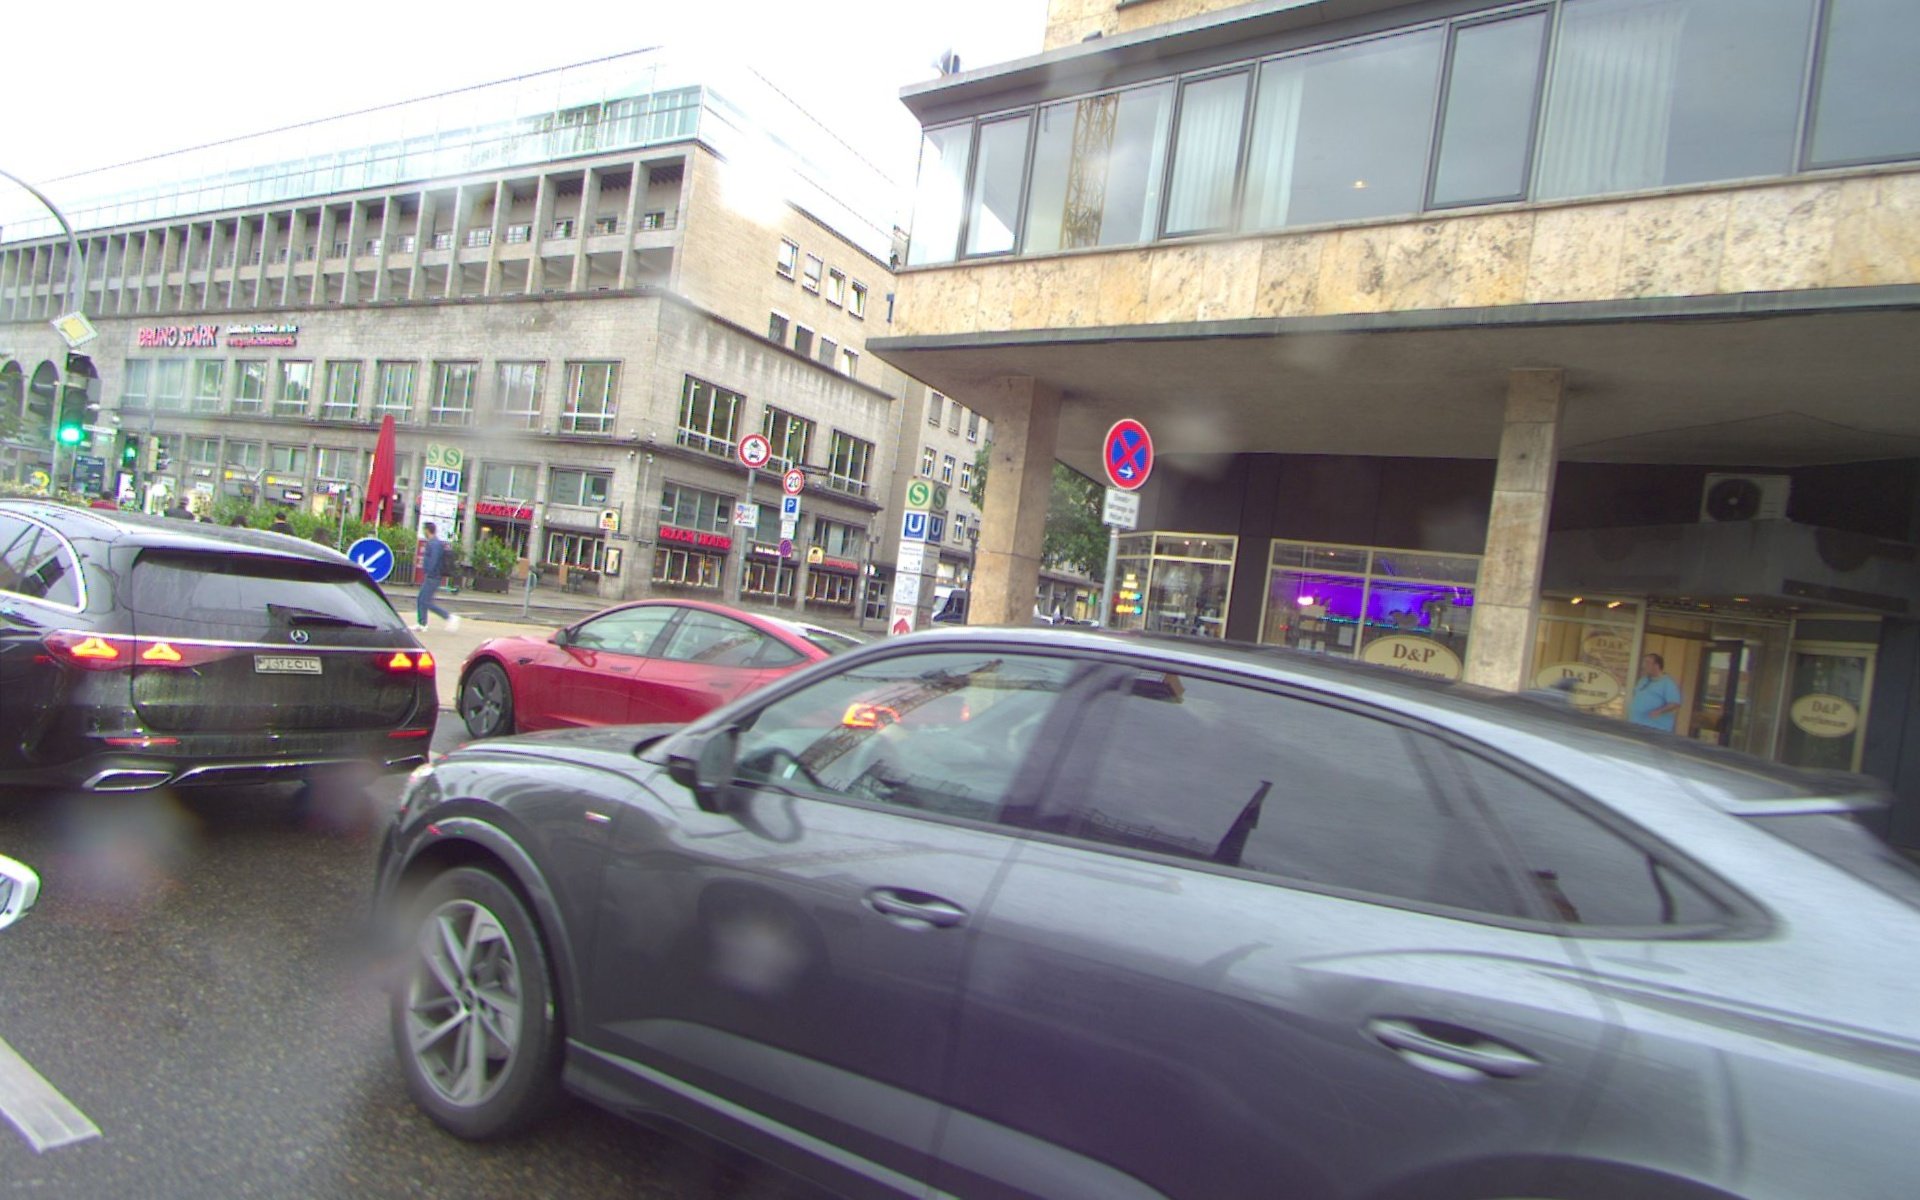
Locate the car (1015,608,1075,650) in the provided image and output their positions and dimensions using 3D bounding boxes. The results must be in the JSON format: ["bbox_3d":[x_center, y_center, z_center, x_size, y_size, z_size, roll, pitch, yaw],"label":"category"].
[{"bbox_3d":[5.424,1.865,63.538,1.966,2.065,4.483,7,-2,29],"label":"car"}]

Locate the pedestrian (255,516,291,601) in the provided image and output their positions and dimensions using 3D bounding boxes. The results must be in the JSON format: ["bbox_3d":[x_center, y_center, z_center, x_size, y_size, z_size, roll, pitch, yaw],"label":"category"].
[{"bbox_3d":[-14.851,-0.904,21.759,0.477,1.774,0.661,5,2,-30],"label":"pedestrian"}]

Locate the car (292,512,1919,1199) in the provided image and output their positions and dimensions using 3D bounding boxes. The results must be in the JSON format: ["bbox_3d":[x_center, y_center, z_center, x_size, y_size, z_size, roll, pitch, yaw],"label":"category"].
[{"bbox_3d":[0.353,0.778,2.717,4.271,1.519,1.882,6,-2,32],"label":"car"}]

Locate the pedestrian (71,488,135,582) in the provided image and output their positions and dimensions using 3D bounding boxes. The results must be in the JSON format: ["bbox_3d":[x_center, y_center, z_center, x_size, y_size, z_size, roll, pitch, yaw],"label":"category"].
[{"bbox_3d":[-17.169,-1.283,20.177,0.561,1.772,0.678,7,-1,-15],"label":"pedestrian"}]

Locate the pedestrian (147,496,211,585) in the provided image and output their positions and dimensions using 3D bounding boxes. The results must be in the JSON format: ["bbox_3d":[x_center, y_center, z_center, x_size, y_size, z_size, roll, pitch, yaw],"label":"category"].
[{"bbox_3d":[-16.309,-1.229,21.014,0.458,1.737,0.757,7,-1,28],"label":"pedestrian"}]

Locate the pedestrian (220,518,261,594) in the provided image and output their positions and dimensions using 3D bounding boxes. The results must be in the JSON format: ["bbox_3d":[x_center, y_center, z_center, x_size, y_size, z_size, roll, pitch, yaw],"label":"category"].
[{"bbox_3d":[-15.313,-0.924,21.417,0.460,1.535,0.447,8,-1,-25],"label":"pedestrian"}]

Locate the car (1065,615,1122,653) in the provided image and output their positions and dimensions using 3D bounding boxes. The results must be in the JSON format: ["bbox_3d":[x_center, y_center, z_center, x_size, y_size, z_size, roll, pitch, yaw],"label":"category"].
[{"bbox_3d":[9.371,2.421,70.290,1.967,2.065,4.830,6,-2,32],"label":"car"}]

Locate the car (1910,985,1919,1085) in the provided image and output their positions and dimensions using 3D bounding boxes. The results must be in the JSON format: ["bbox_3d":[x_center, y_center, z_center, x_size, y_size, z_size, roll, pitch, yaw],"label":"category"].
[{"bbox_3d":[6.293,1.459,2.795,4.853,1.942,1.878,6,-2,31],"label":"car"}]

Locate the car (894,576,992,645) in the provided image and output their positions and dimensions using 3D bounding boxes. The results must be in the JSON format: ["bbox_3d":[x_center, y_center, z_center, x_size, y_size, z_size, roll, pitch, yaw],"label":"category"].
[{"bbox_3d":[-0.751,0.617,51.072,1.965,2.792,6.185,7,-2,28],"label":"car"}]

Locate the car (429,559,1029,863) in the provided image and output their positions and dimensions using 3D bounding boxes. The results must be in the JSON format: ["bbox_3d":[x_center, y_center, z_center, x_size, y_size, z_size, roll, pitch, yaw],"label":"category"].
[{"bbox_3d":[-1.931,0.710,7.964,4.451,1.503,1.879,6,-2,31],"label":"car"}]

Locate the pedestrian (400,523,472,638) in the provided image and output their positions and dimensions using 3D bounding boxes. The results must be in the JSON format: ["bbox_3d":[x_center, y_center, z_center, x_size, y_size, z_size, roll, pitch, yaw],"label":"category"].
[{"bbox_3d":[-8.654,-0.309,16.649,0.768,1.777,0.503,7,-1,-15],"label":"pedestrian"}]

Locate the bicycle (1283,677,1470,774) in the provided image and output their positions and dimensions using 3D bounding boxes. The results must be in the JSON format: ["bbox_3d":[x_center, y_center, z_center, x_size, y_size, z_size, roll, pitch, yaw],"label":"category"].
[{"bbox_3d":[6.238,1.854,15.142,2.431,1.058,0.657,6,-2,32],"label":"bicycle"}]

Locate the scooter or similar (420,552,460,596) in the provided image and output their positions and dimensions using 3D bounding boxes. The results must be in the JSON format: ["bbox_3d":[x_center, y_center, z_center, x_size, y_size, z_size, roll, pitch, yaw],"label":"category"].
[{"bbox_3d":[-16.051,-0.801,31.051,1.000,1.203,0.291,7,-1,13],"label":"scooter or similar"}]

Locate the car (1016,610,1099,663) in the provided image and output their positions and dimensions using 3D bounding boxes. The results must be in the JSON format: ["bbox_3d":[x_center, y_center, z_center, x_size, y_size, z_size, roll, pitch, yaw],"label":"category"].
[{"bbox_3d":[4.590,1.738,46.618,1.966,1.995,4.638,7,-1,29],"label":"car"}]

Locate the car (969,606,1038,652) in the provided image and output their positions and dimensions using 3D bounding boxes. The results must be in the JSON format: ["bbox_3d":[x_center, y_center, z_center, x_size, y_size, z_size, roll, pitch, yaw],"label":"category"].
[{"bbox_3d":[2.554,1.707,58.070,1.966,2.065,4.557,7,-2,29],"label":"car"}]

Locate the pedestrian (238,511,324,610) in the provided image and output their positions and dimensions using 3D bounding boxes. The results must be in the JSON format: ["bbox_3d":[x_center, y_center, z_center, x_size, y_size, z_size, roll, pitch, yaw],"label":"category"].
[{"bbox_3d":[-12.991,-0.738,19.269,0.642,1.774,1.097,7,2,29],"label":"pedestrian"}]

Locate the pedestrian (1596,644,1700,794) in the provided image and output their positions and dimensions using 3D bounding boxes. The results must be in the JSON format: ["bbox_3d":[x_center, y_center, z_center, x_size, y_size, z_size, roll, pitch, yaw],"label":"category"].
[{"bbox_3d":[9.044,1.560,13.209,0.791,1.811,1.130,6,-2,44],"label":"pedestrian"}]

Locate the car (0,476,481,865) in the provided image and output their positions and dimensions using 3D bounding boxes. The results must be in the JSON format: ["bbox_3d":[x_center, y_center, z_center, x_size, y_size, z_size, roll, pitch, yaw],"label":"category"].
[{"bbox_3d":[-5.086,0.169,5.927,4.552,1.519,1.797,6,-2,32],"label":"car"}]
